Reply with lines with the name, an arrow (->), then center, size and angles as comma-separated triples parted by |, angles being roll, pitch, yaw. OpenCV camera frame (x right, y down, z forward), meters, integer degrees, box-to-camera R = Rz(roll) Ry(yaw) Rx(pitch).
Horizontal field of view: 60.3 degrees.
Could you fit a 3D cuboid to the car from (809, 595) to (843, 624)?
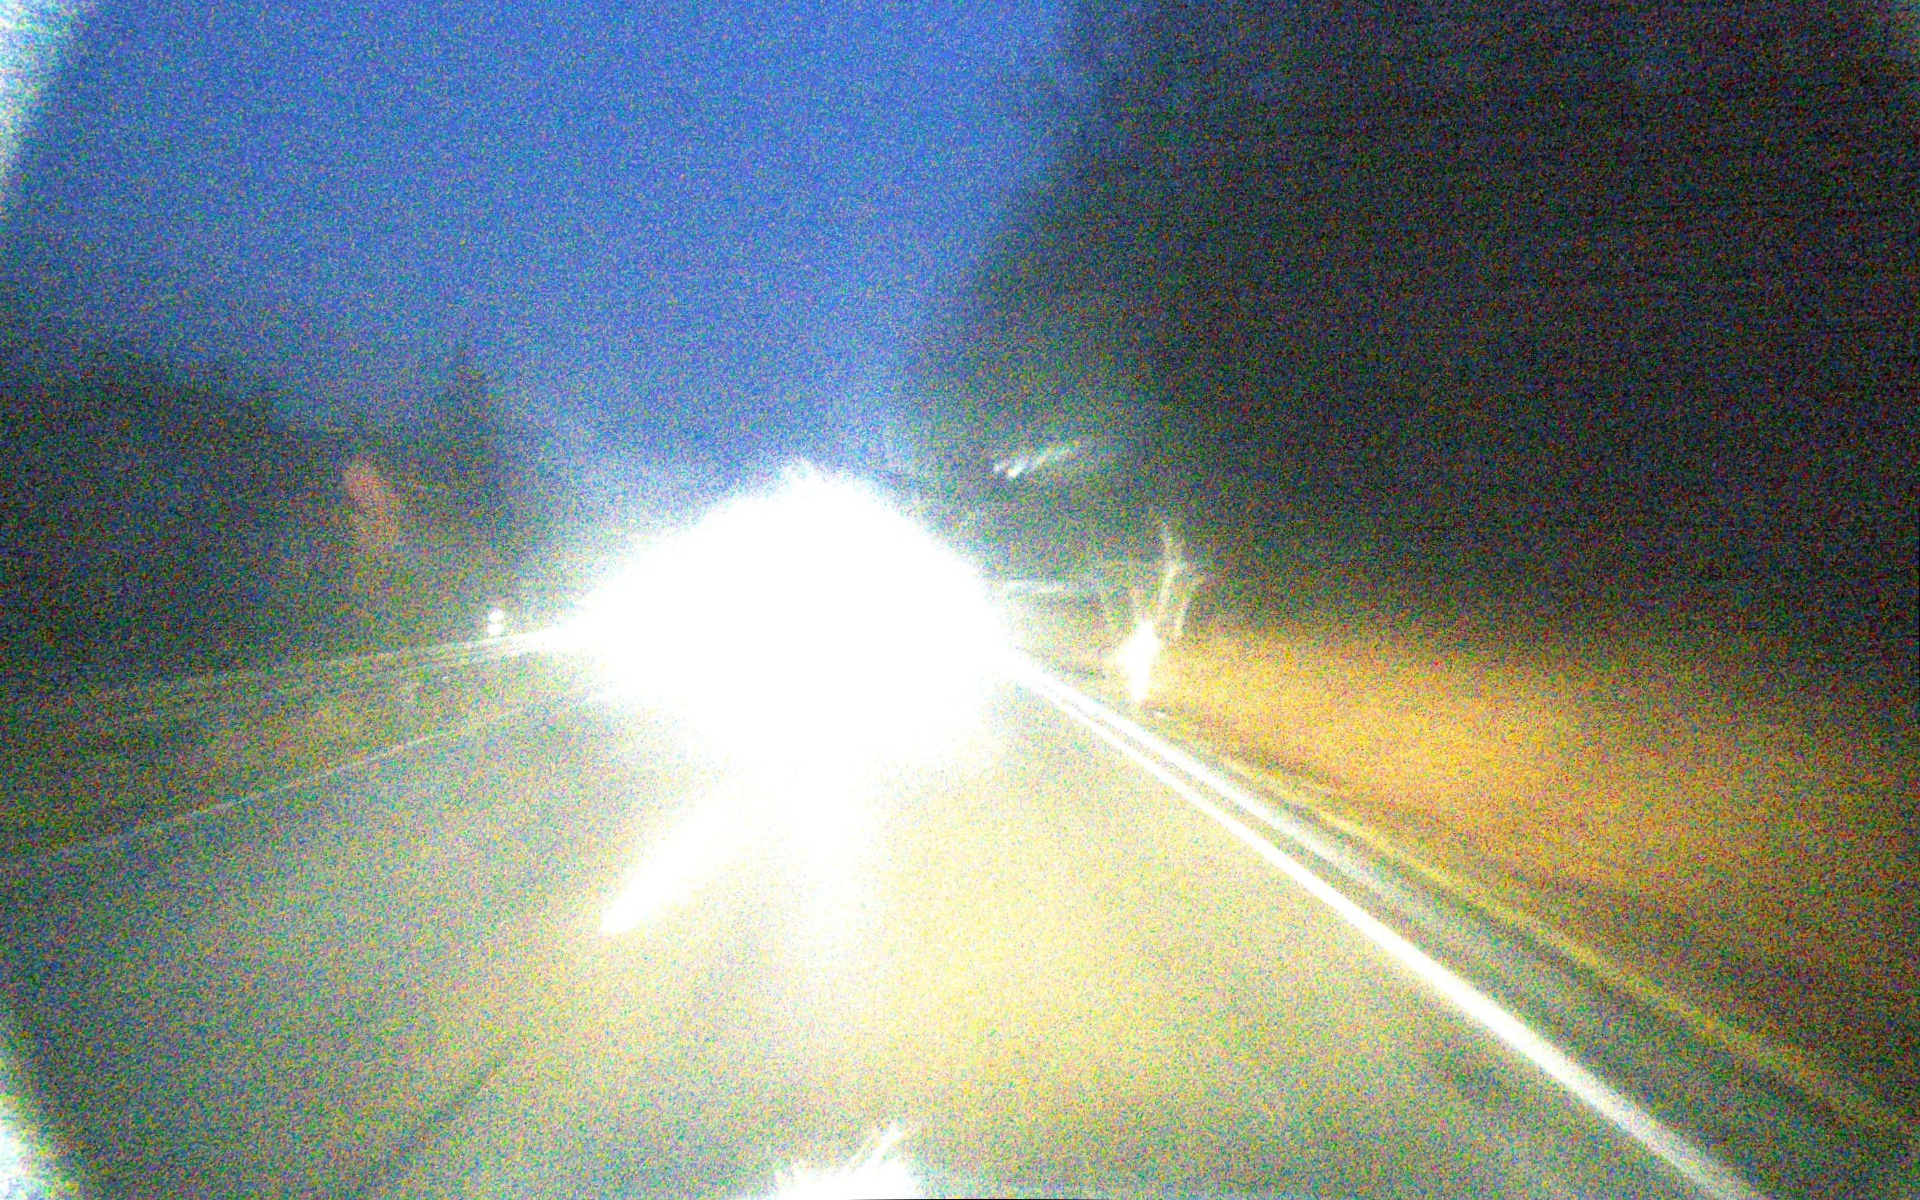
car -> -7.779, 0.541, 96.269 | 1.793, 1.595, 3.777 | 2, 0, -3
